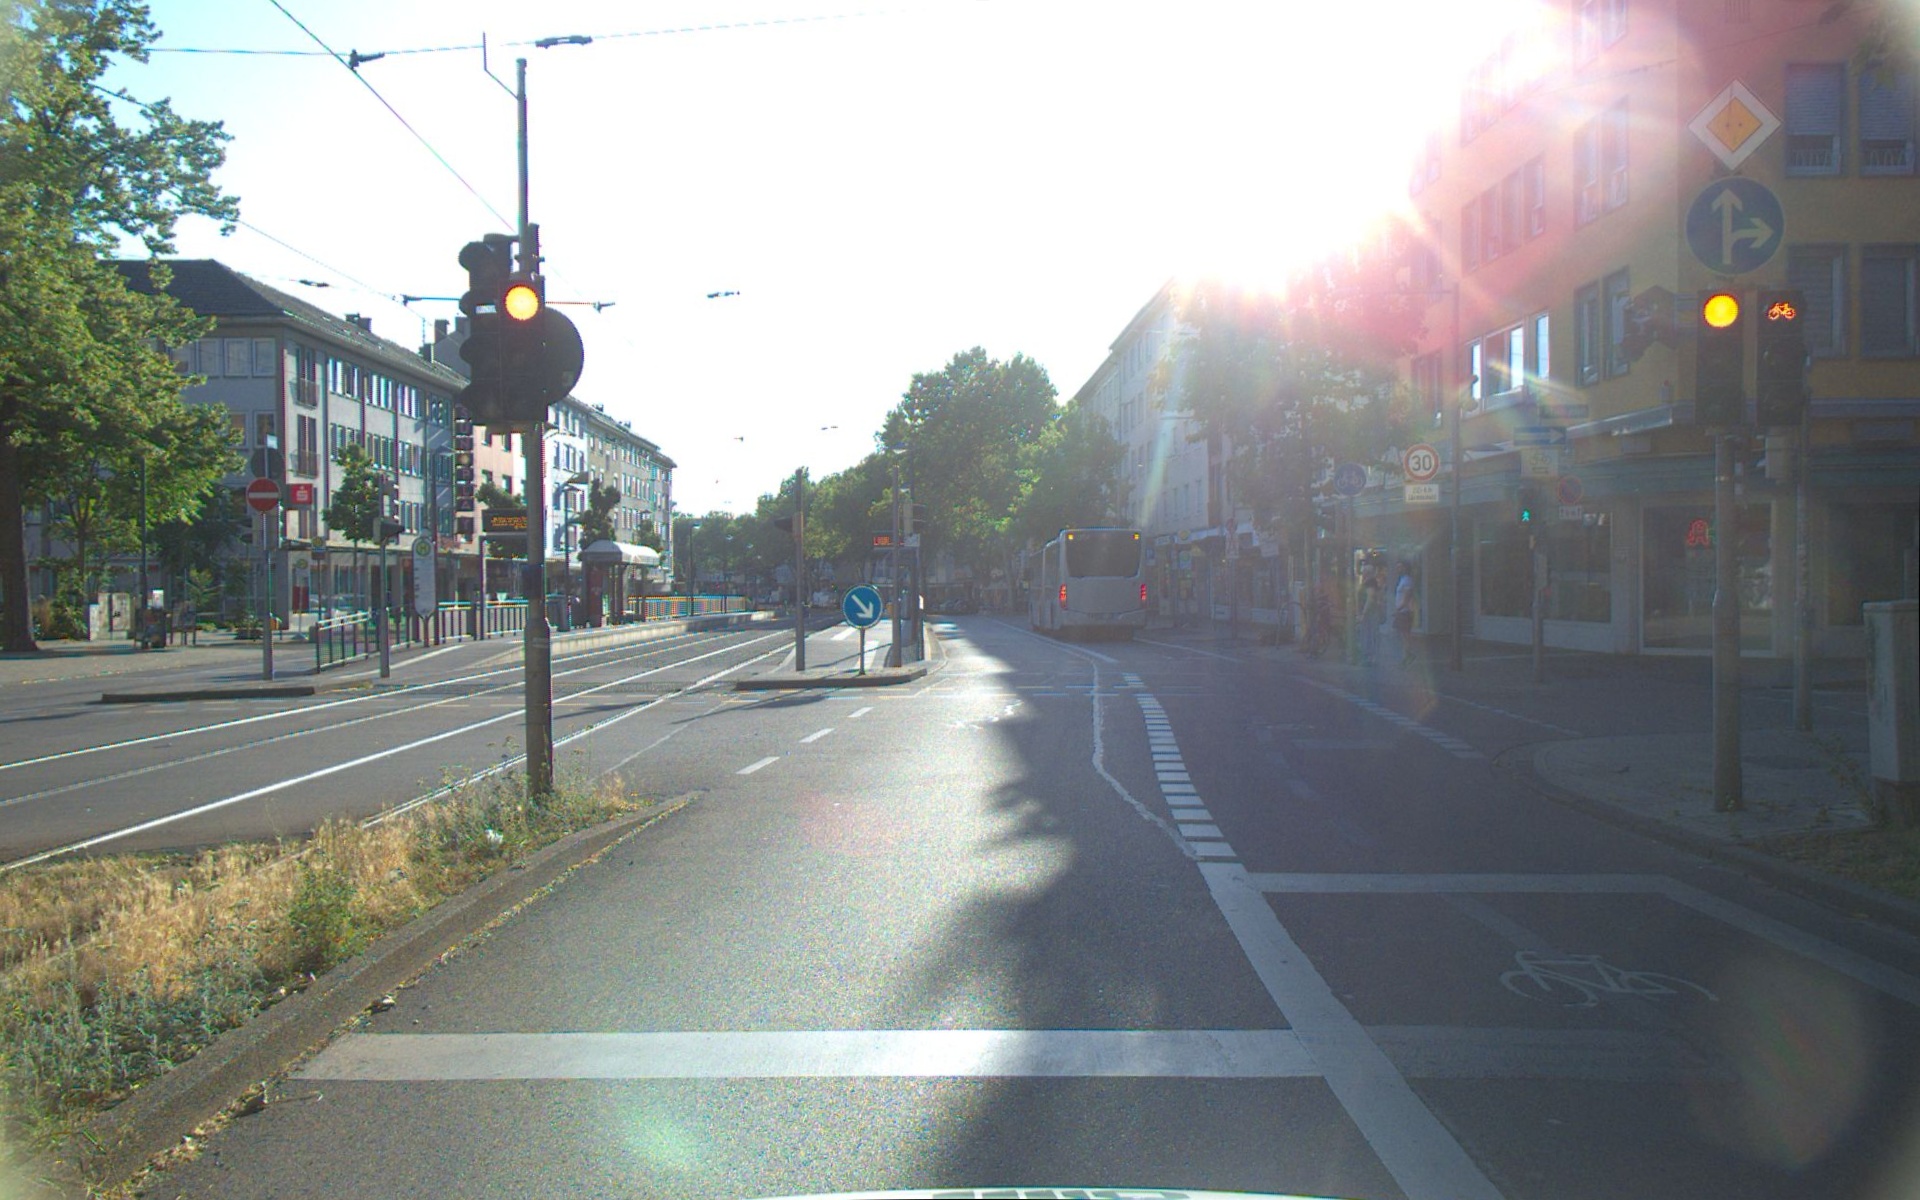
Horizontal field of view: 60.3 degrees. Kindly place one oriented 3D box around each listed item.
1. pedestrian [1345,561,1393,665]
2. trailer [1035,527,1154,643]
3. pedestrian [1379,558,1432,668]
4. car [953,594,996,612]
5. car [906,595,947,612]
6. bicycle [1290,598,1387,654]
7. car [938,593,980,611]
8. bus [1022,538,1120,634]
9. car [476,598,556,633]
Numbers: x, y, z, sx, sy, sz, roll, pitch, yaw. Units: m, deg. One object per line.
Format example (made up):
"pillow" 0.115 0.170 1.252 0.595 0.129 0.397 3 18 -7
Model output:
"pedestrian" 7.217 0.222 29.229 0.666 1.801 0.687 -1 0 0
"trailer" 3.974 -0.447 50.813 2.755 3.164 8.793 1 0 -1
"pedestrian" 7.417 0.204 27.552 0.666 1.801 0.687 -1 0 0
"car" 1.387 0.282 160.279 3.848 1.729 1.815 -1 1 -30
"car" -3.361 0.344 167.701 3.848 1.624 1.674 -1 1 -30
"bicycle" 7.499 0.509 32.787 1.737 1.039 0.694 -2 0 -2
"car" -0.090 0.166 163.042 3.848 1.729 1.815 -1 1 -30
"bus" 3.875 -0.487 59.774 2.755 3.155 9.093 1 0 -1
"car" -24.399 0.838 90.878 3.940 1.847 1.982 -1 1 -28
